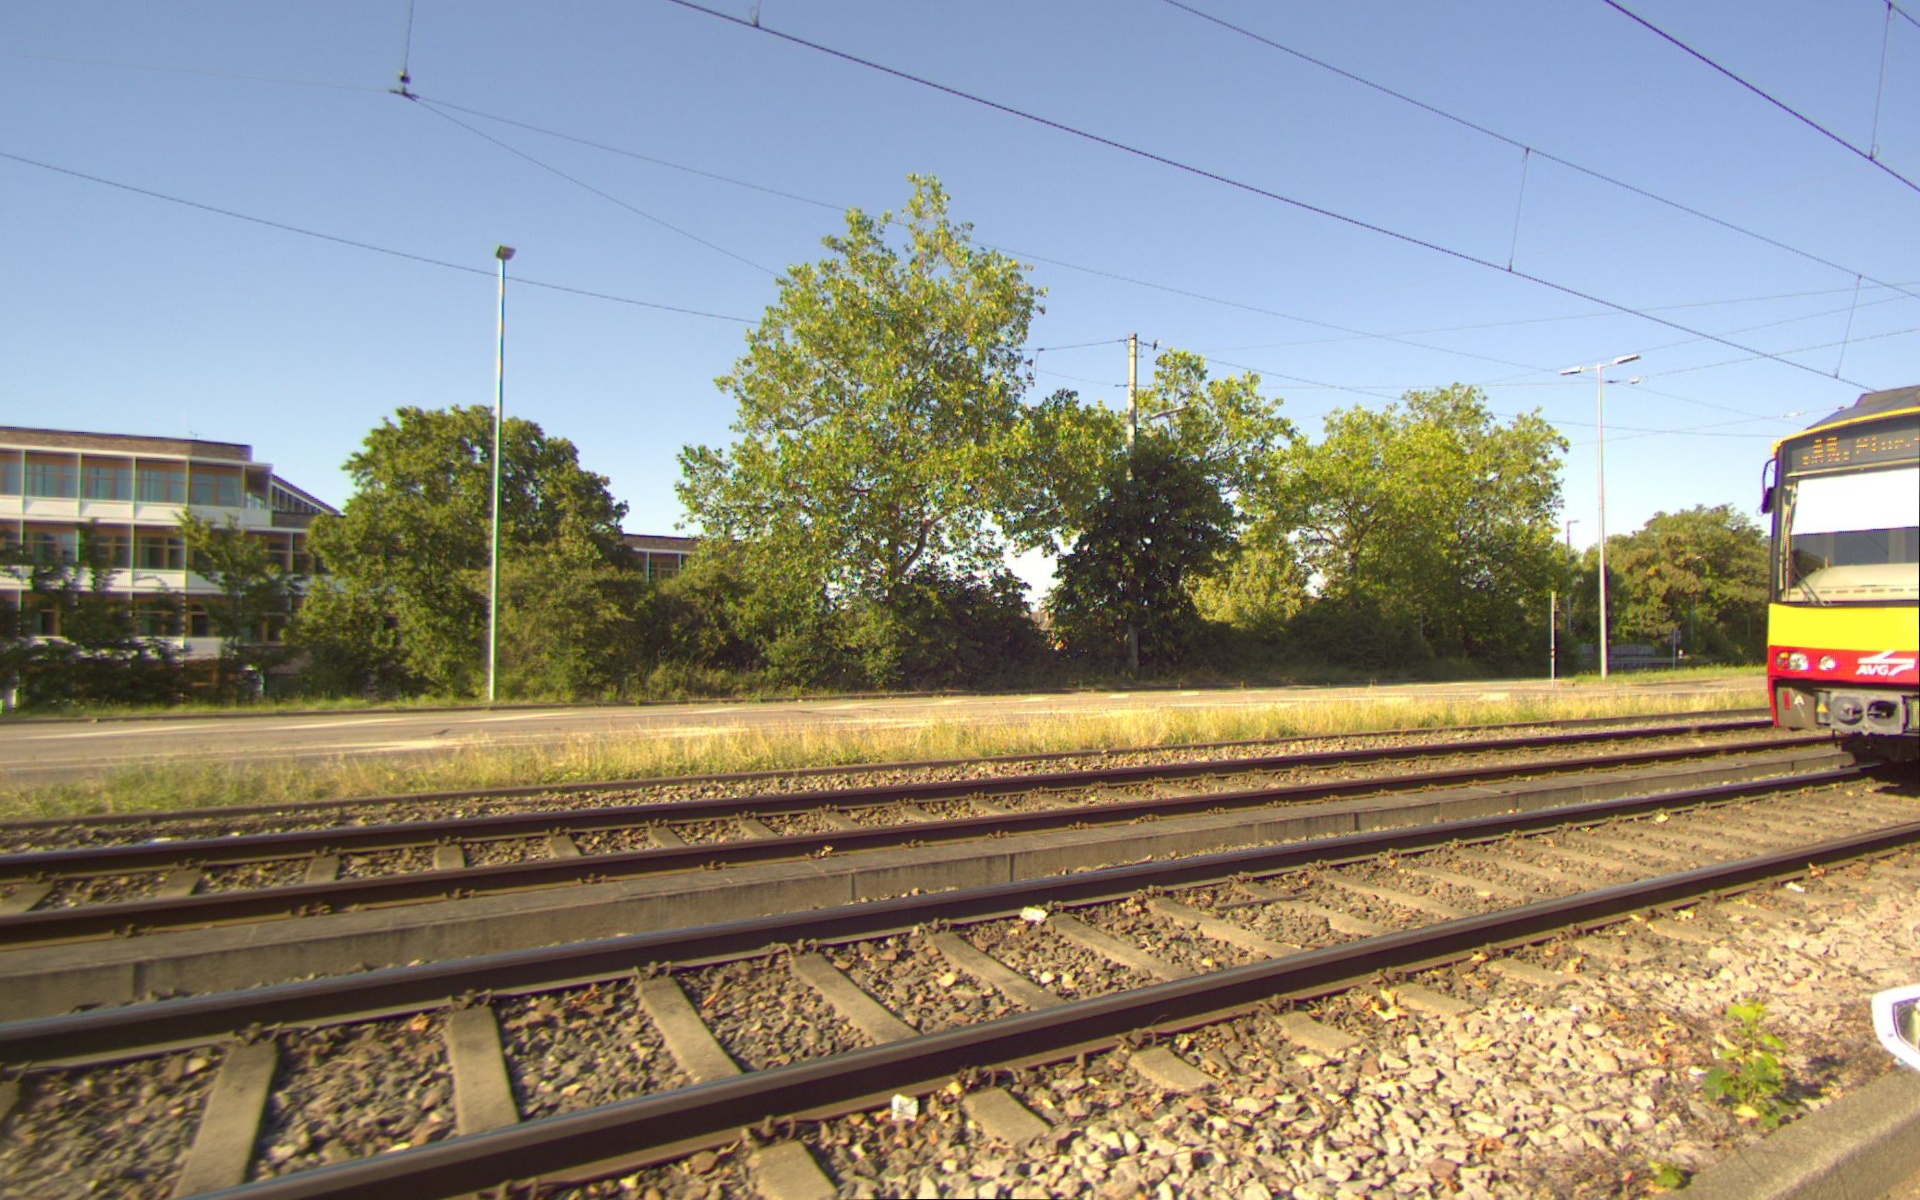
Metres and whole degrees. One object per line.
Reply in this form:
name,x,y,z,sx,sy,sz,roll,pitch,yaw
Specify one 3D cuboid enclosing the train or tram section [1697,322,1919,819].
train or tram section,13.710,-0.096,11.956,13.452,4.145,2.709,1,-2,-30
